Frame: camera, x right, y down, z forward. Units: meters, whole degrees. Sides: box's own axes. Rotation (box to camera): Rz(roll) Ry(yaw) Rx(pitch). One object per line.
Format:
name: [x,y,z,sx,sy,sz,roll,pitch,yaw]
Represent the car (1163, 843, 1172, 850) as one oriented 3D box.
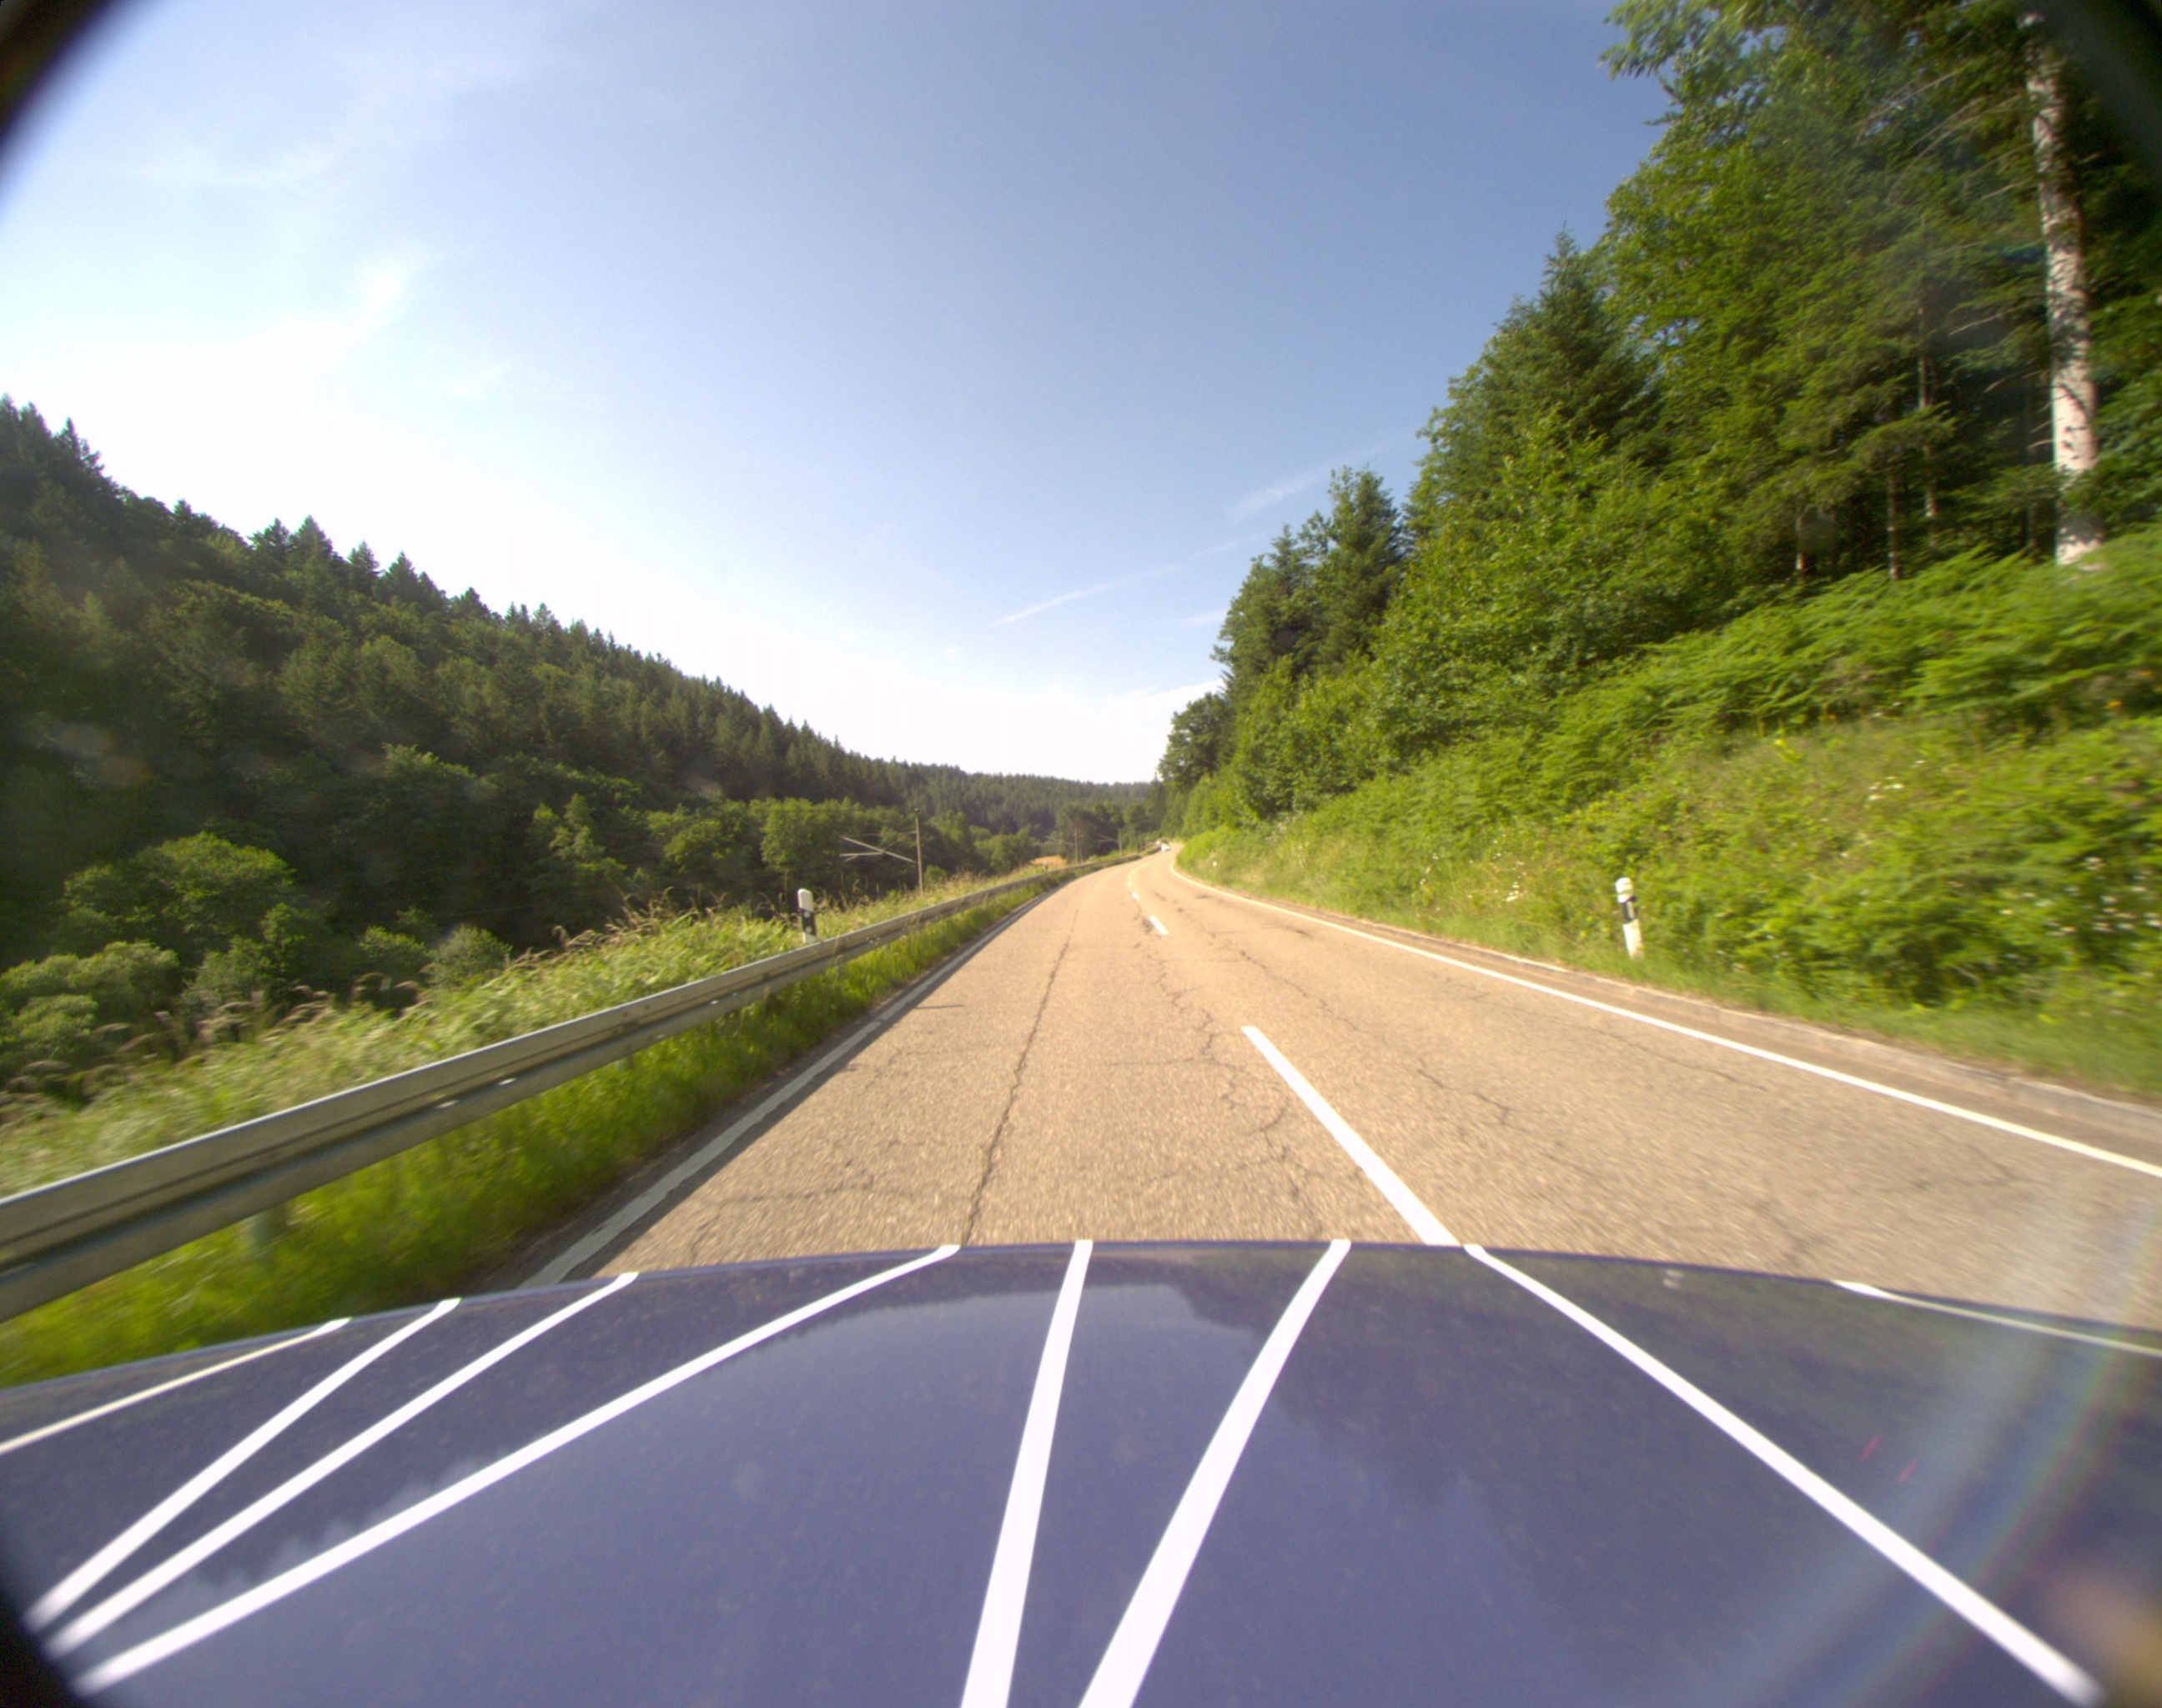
car: [22.247,-1.857,195.425,1.702,1.543,3.787,-5,2,1]
